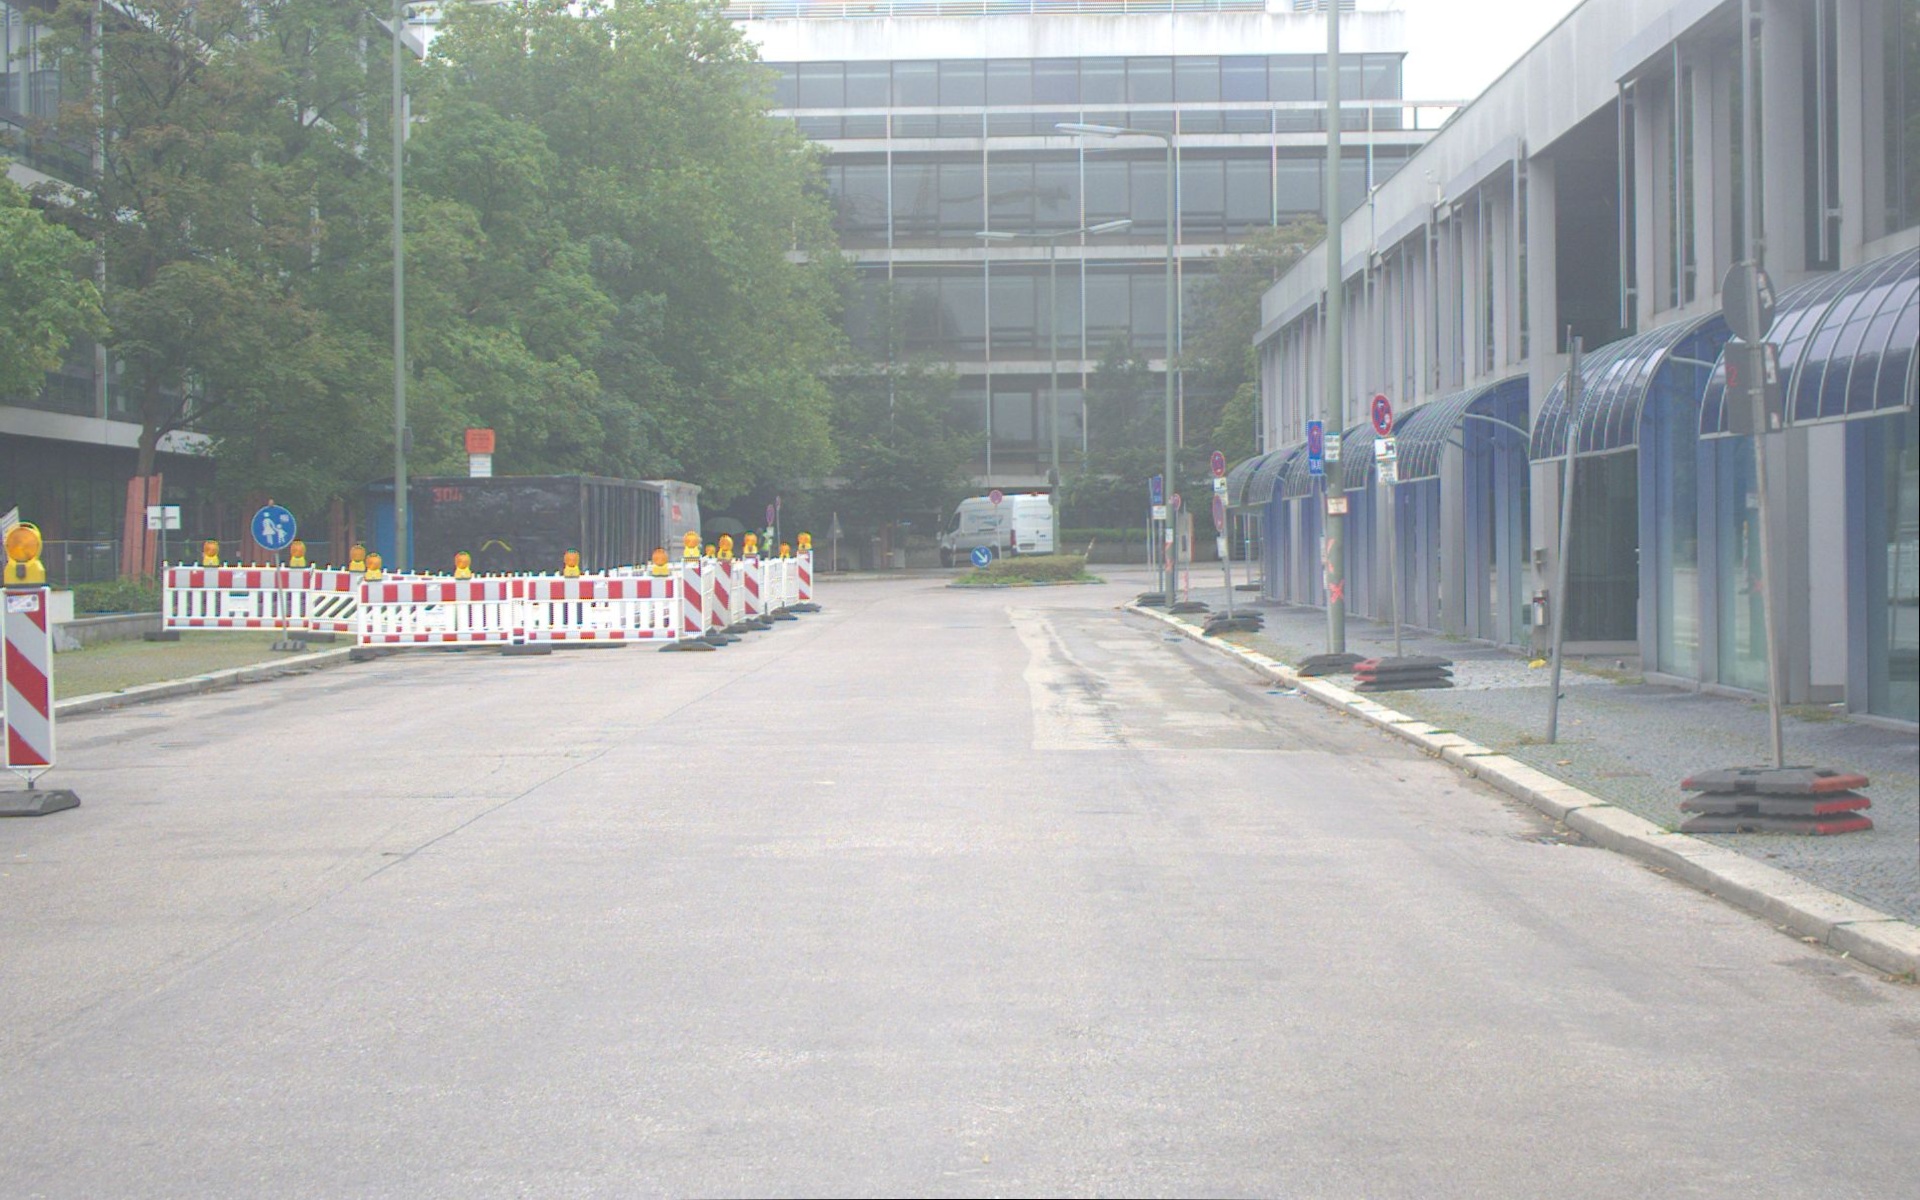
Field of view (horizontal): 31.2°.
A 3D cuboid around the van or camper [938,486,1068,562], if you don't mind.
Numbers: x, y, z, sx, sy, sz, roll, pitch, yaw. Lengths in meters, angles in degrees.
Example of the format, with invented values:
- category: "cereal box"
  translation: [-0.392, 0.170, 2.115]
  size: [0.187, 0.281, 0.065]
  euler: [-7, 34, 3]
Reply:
- category: "van or camper"
  translation: [1.534, -2.754, 126.113]
  size: [2.155, 2.572, 6.540]
  euler: [0, 0, -25]
